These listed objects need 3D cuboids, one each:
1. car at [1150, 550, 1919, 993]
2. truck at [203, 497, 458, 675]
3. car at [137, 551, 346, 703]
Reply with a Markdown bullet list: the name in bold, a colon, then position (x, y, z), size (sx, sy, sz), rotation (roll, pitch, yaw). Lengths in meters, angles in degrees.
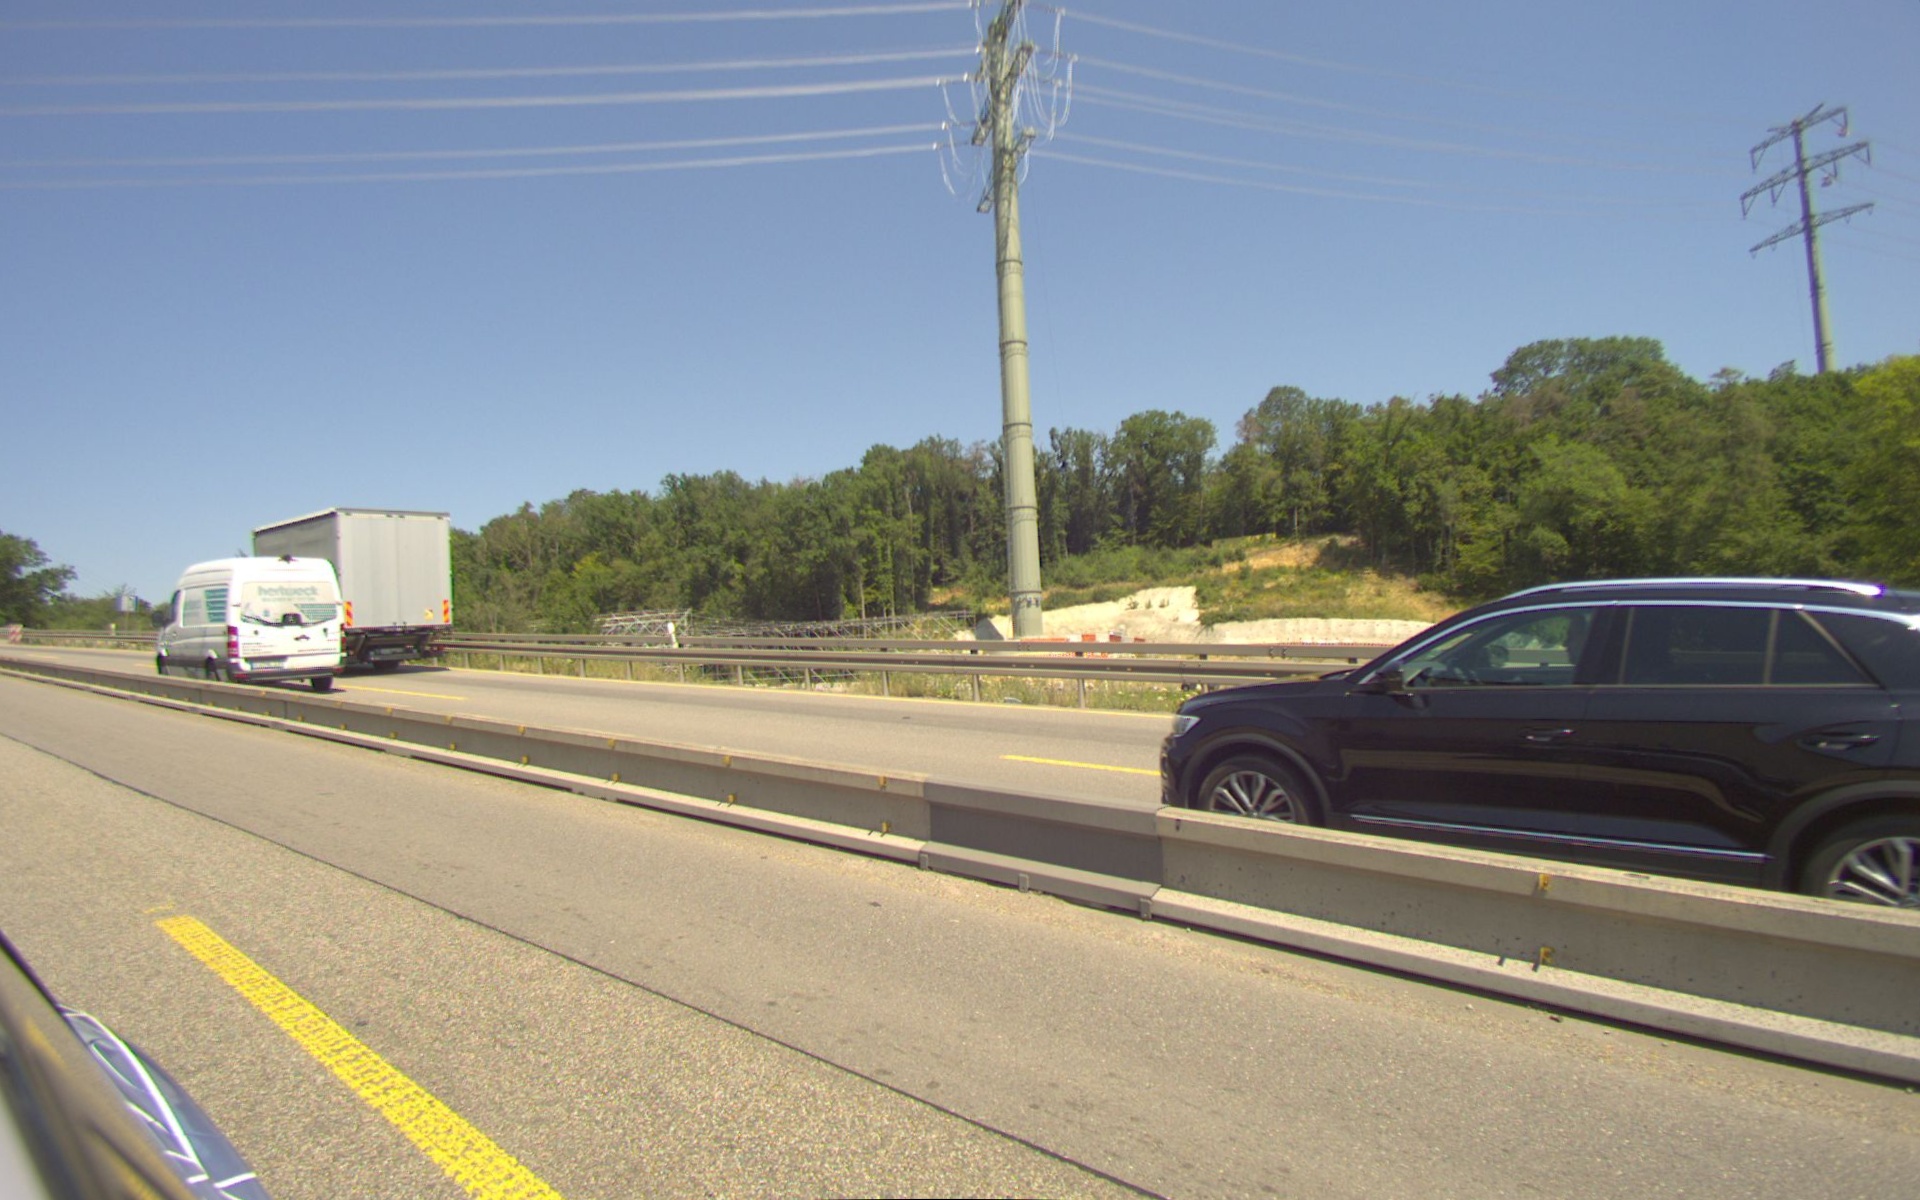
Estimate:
- **car**: position (3.133, 0.608, 4.901), size (4.033, 1.563, 1.711), rotation (-1, 0, 41)
- **truck**: position (-17.374, -0.244, 27.441), size (10.545, 4.030, 2.772), rotation (-1, 0, 41)
- **car**: position (-14.939, 0.504, 20.827), size (6.656, 2.700, 1.950), rotation (-1, 0, 40)
